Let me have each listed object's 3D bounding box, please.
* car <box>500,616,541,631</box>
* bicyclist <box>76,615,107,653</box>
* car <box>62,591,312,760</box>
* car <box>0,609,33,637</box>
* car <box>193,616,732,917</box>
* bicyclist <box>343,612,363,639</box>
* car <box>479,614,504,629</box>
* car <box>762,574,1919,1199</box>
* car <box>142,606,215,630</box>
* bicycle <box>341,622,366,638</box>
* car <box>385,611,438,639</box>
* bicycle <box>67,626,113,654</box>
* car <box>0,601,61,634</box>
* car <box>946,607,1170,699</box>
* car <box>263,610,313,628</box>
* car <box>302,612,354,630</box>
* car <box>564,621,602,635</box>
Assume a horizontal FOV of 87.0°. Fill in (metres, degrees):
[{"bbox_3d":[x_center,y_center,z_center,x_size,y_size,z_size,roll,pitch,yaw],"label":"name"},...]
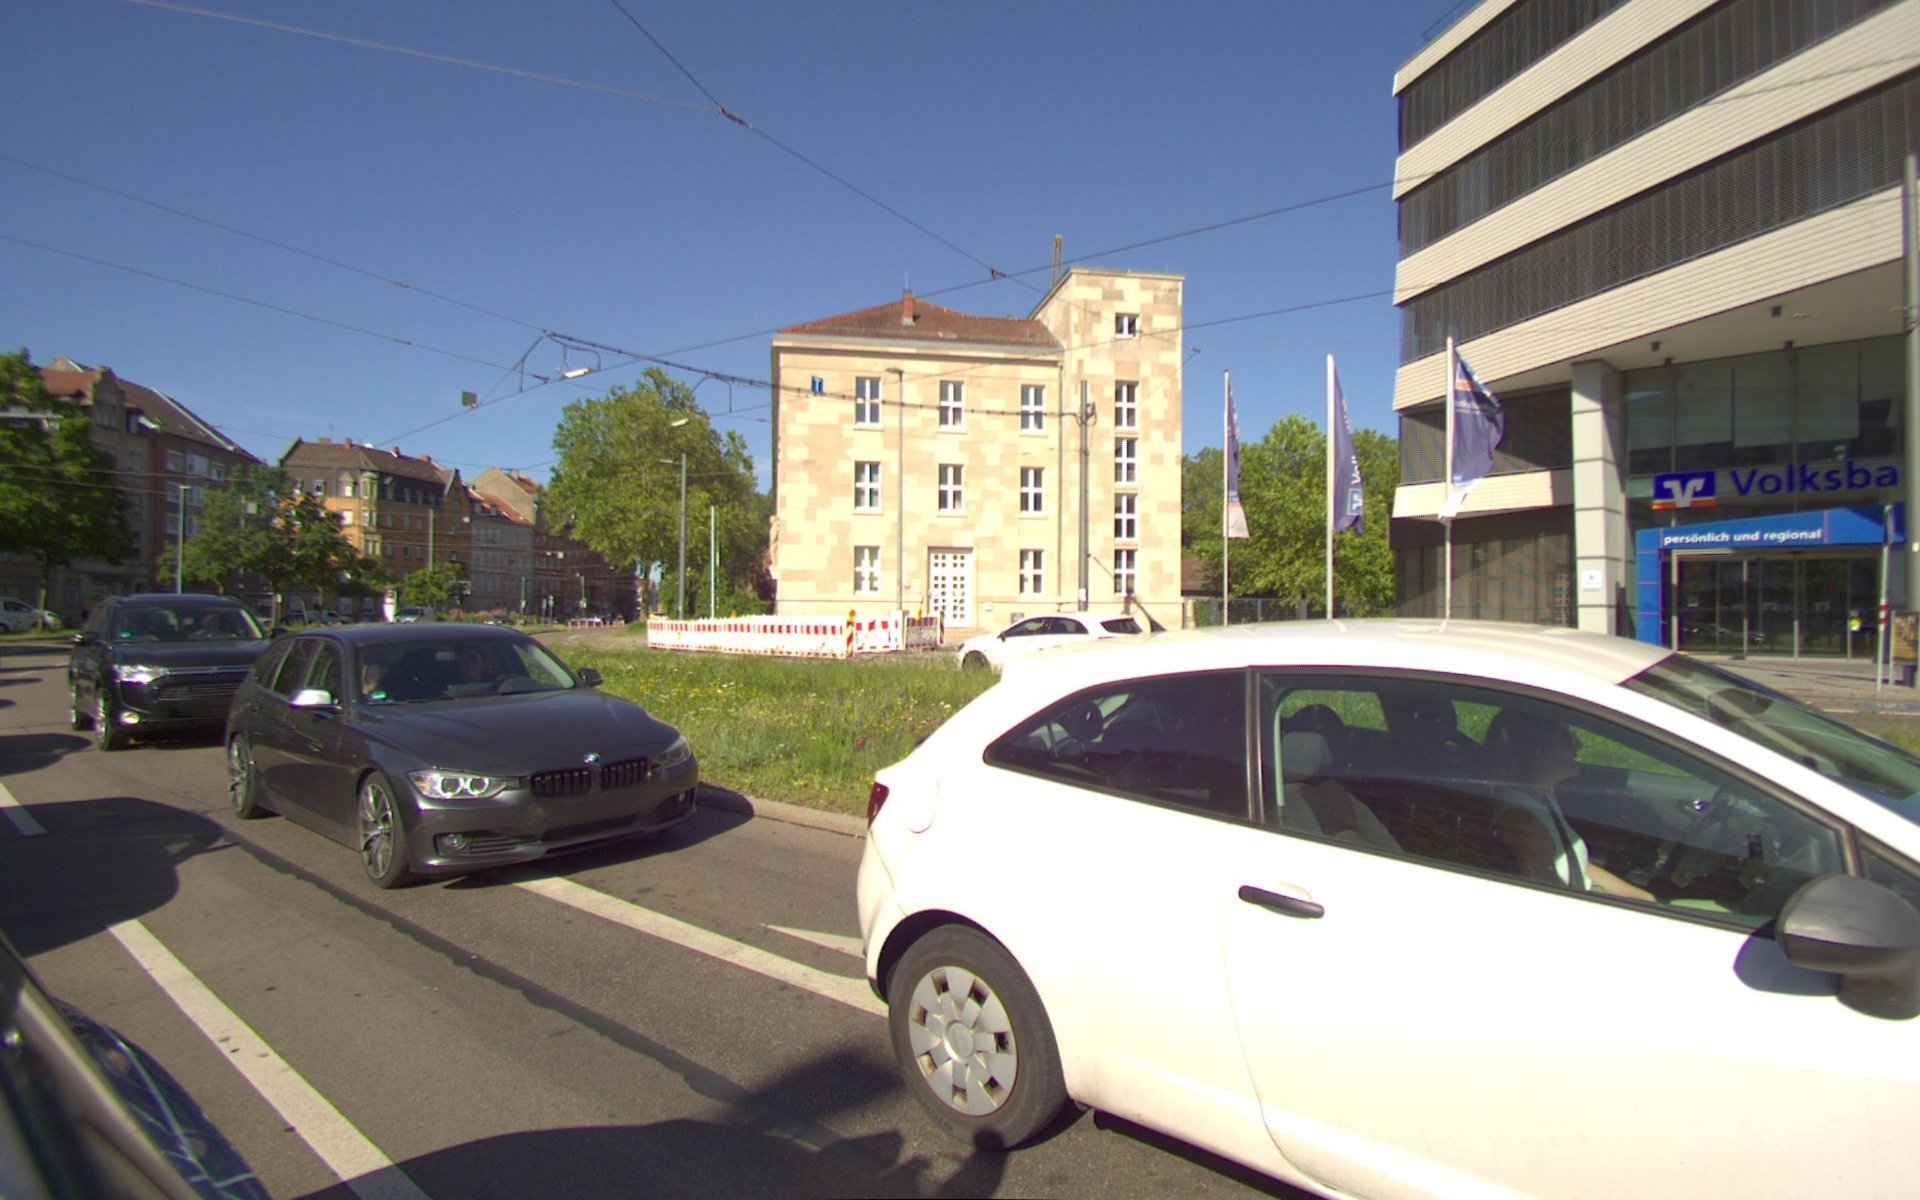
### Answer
[{"bbox_3d":[-50.254,2.668,115.725,4.025,1.669,1.761,1,-1,10],"label":"car"},{"bbox_3d":[-38.116,1.490,44.414,0.658,1.641,0.974,0,-1,-15],"label":"bicyclist"},{"bbox_3d":[-9.380,0.772,12.131,1.817,1.658,4.400,-1,-1,-45],"label":"car"},{"bbox_3d":[-48.766,1.150,50.385,3.768,1.390,1.602,2,-2,-41],"label":"car"},{"bbox_3d":[-3.598,0.826,6.881,4.424,1.377,1.719,-1,0,41],"label":"car"},{"bbox_3d":[-45.468,1.921,75.839,0.836,2.029,1.197,0,-1,-4],"label":"bicyclist"},{"bbox_3d":[-47.851,2.202,103.397,1.809,1.483,4.728,1,-1,-19],"label":"car"},{"bbox_3d":[1.481,0.693,2.481,4.020,1.452,1.714,0,2,40],"label":"car"},{"bbox_3d":[-53.933,1.271,69.873,3.771,1.603,1.601,2,-2,-44],"label":"car"},{"bbox_3d":[-45.495,2.242,75.899,0.753,1.153,2.286,0,-1,-7],"label":"bicycle"},{"bbox_3d":[-43.085,1.980,79.623,1.953,2.101,4.719,1,-1,-5],"label":"car"},{"bbox_3d":[-38.109,1.733,44.381,0.658,1.206,2.160,0,-1,-15],"label":"bicycle"},{"bbox_3d":[-49.932,0.890,52.791,4.514,1.680,1.601,2,-2,-43],"label":"car"},{"bbox_3d":[1.901,1.006,20.338,4.176,1.658,1.802,-1,-2,38],"label":"car"},{"bbox_3d":[-75.424,2.147,113.577,4.276,1.896,1.846,1,-1,-15],"label":"car"},{"bbox_3d":[-70.028,2.275,112.247,4.513,1.889,2.006,-1,0,-16],"label":"car"},{"bbox_3d":[-44.590,3.321,119.755,4.001,1.669,1.772,1,-1,-16],"label":"car"}]
